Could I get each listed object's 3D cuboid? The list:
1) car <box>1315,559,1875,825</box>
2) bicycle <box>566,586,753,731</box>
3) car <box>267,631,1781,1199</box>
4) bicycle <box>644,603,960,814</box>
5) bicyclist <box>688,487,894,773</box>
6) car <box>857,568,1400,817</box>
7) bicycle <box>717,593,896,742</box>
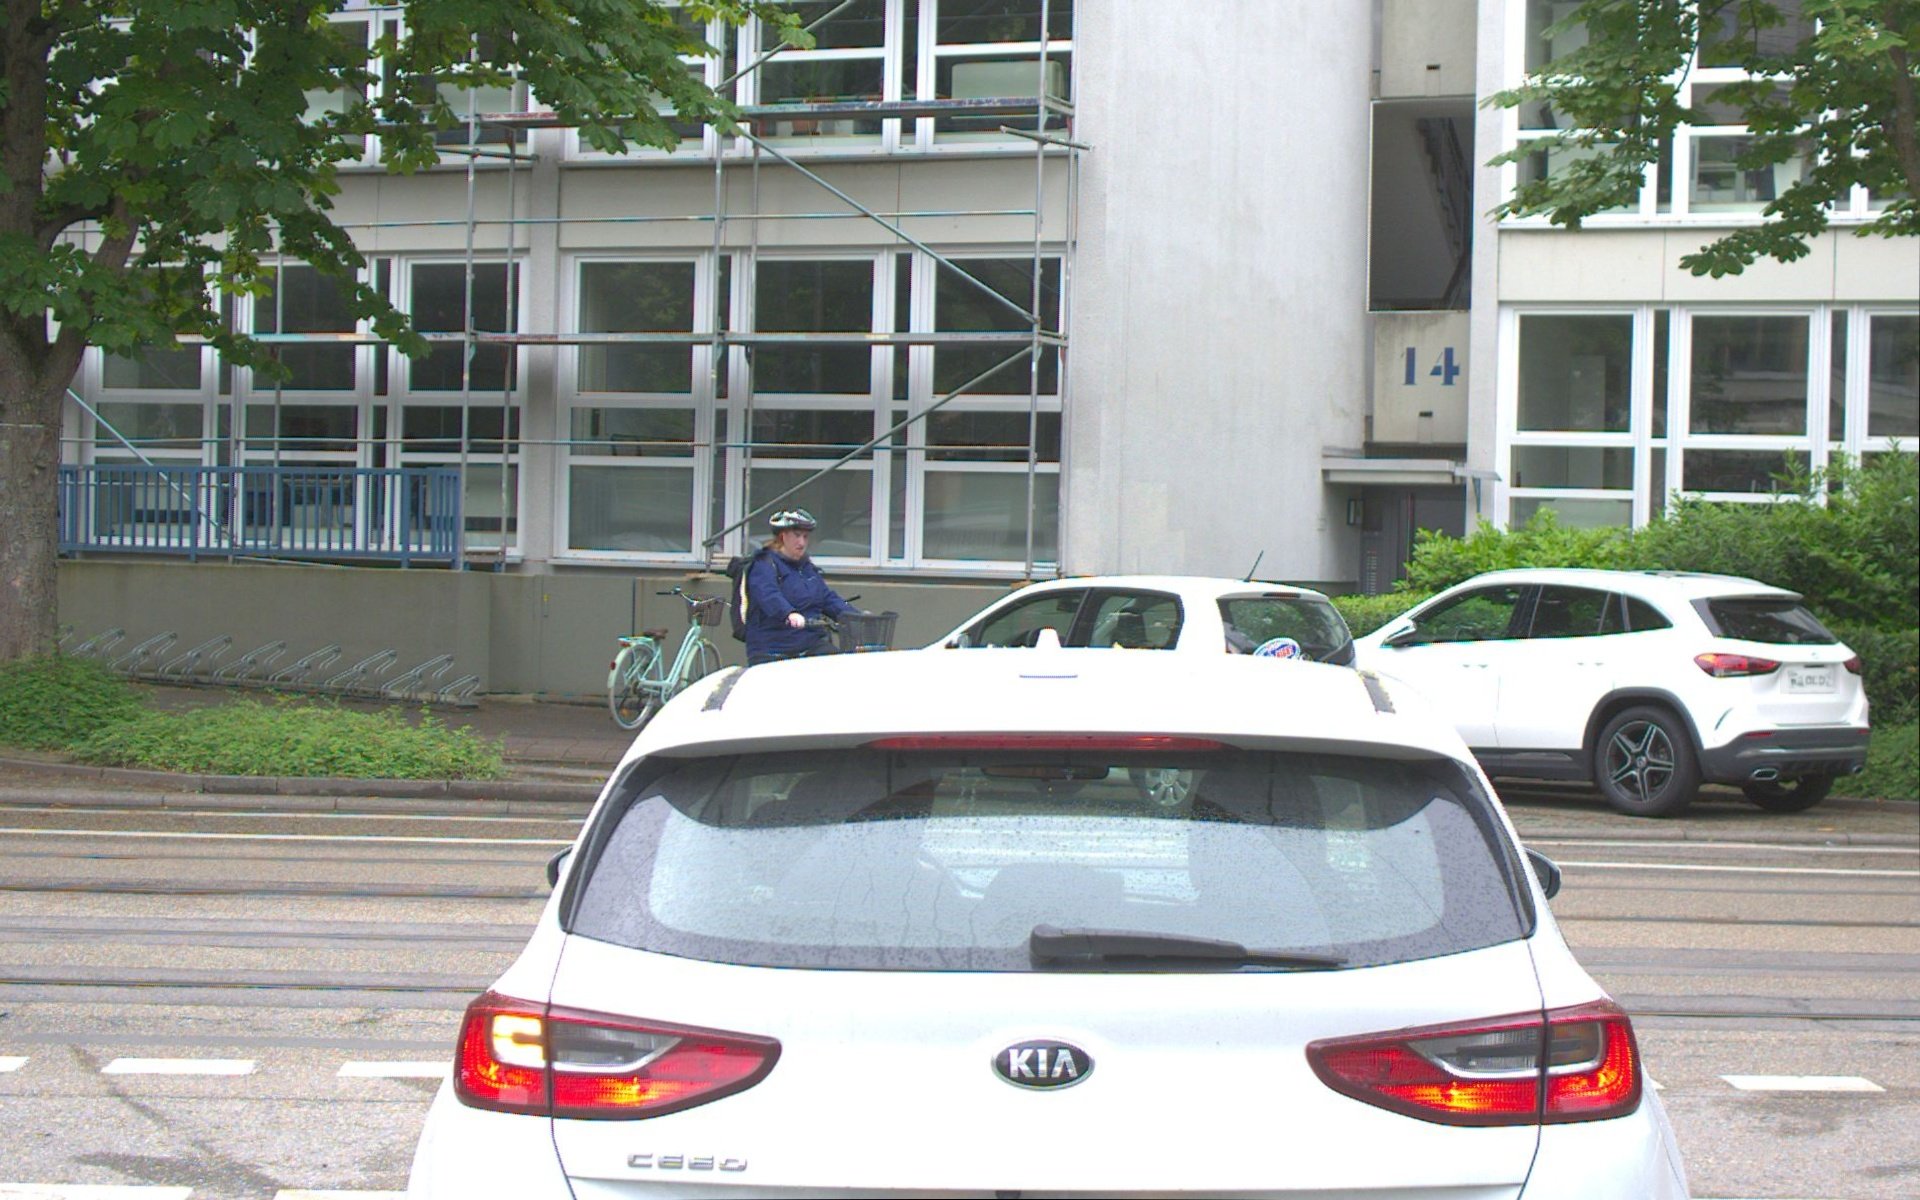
[{"bbox_3d":[4.204,0.558,23.072,1.552,1.612,3.406,0,1,-44],"label":"car"},{"bbox_3d":[-2.505,0.468,28.948,0.645,1.071,2.310,2,3,20],"label":"bicycle"},{"bbox_3d":[0.153,0.779,6.029,1.775,1.428,3.978,1,0,3],"label":"car"},{"bbox_3d":[-0.984,0.636,21.004,1.914,1.170,0.819,2,1,44],"label":"bicycle"},{"bbox_3d":[-1.037,0.172,21.053,0.896,1.692,0.832,2,1,45],"label":"bicyclist"},{"bbox_3d":[1.055,0.552,22.577,1.552,1.468,3.406,0,1,-44],"label":"car"},{"bbox_3d":[-1.247,0.530,28.479,0.645,1.071,2.310,2,3,20],"label":"bicycle"}]
